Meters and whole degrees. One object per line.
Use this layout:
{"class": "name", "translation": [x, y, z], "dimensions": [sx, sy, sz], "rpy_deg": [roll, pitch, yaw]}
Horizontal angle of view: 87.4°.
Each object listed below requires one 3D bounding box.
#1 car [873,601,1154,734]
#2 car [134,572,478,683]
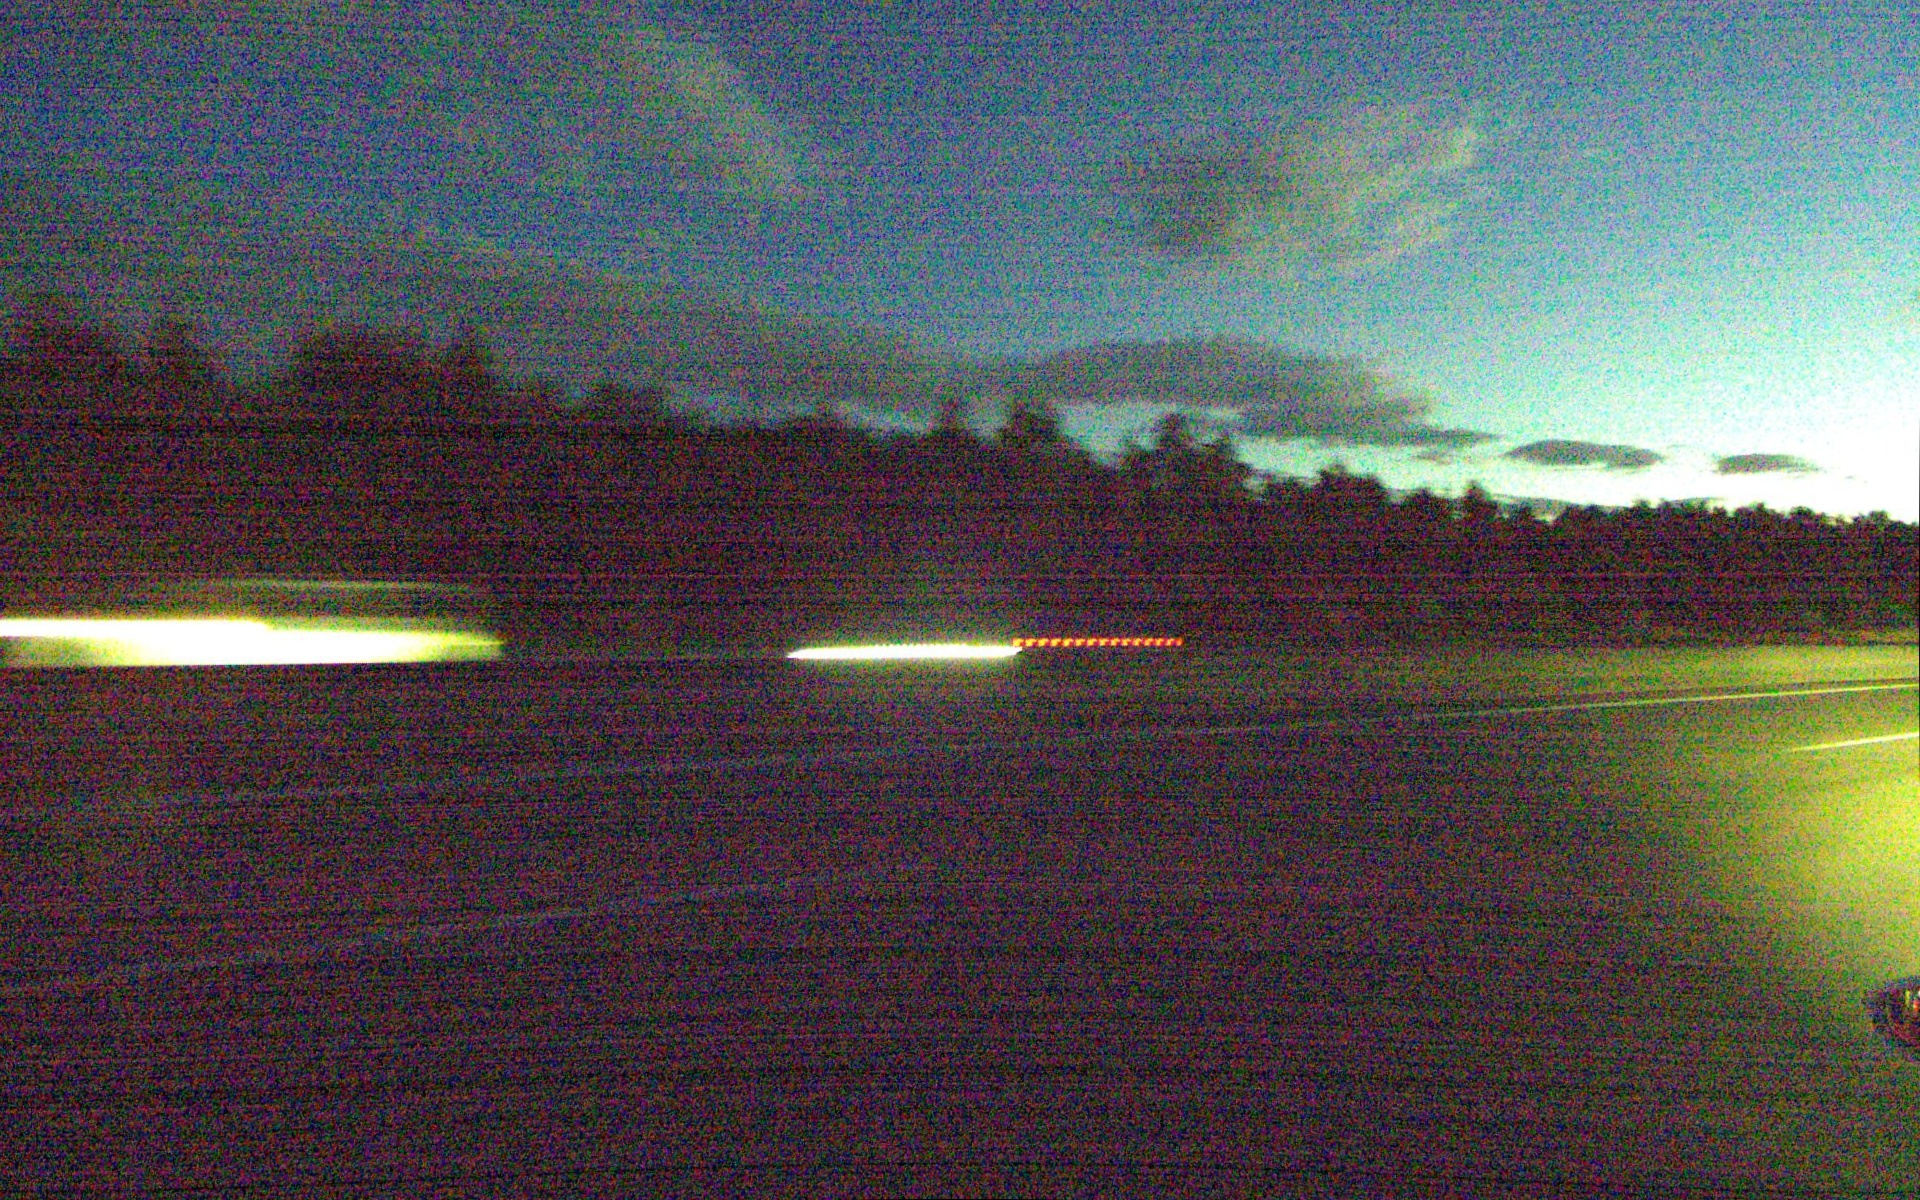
{"class": "car", "translation": [0.984, 1.111, 17.555], "dimensions": [4.552, 2.040, 1.983], "rpy_deg": [2, 0, -31]}
{"class": "car", "translation": [-11.789, 0.517, 18.552], "dimensions": [5.030, 1.801, 1.984], "rpy_deg": [2, 0, -31]}
